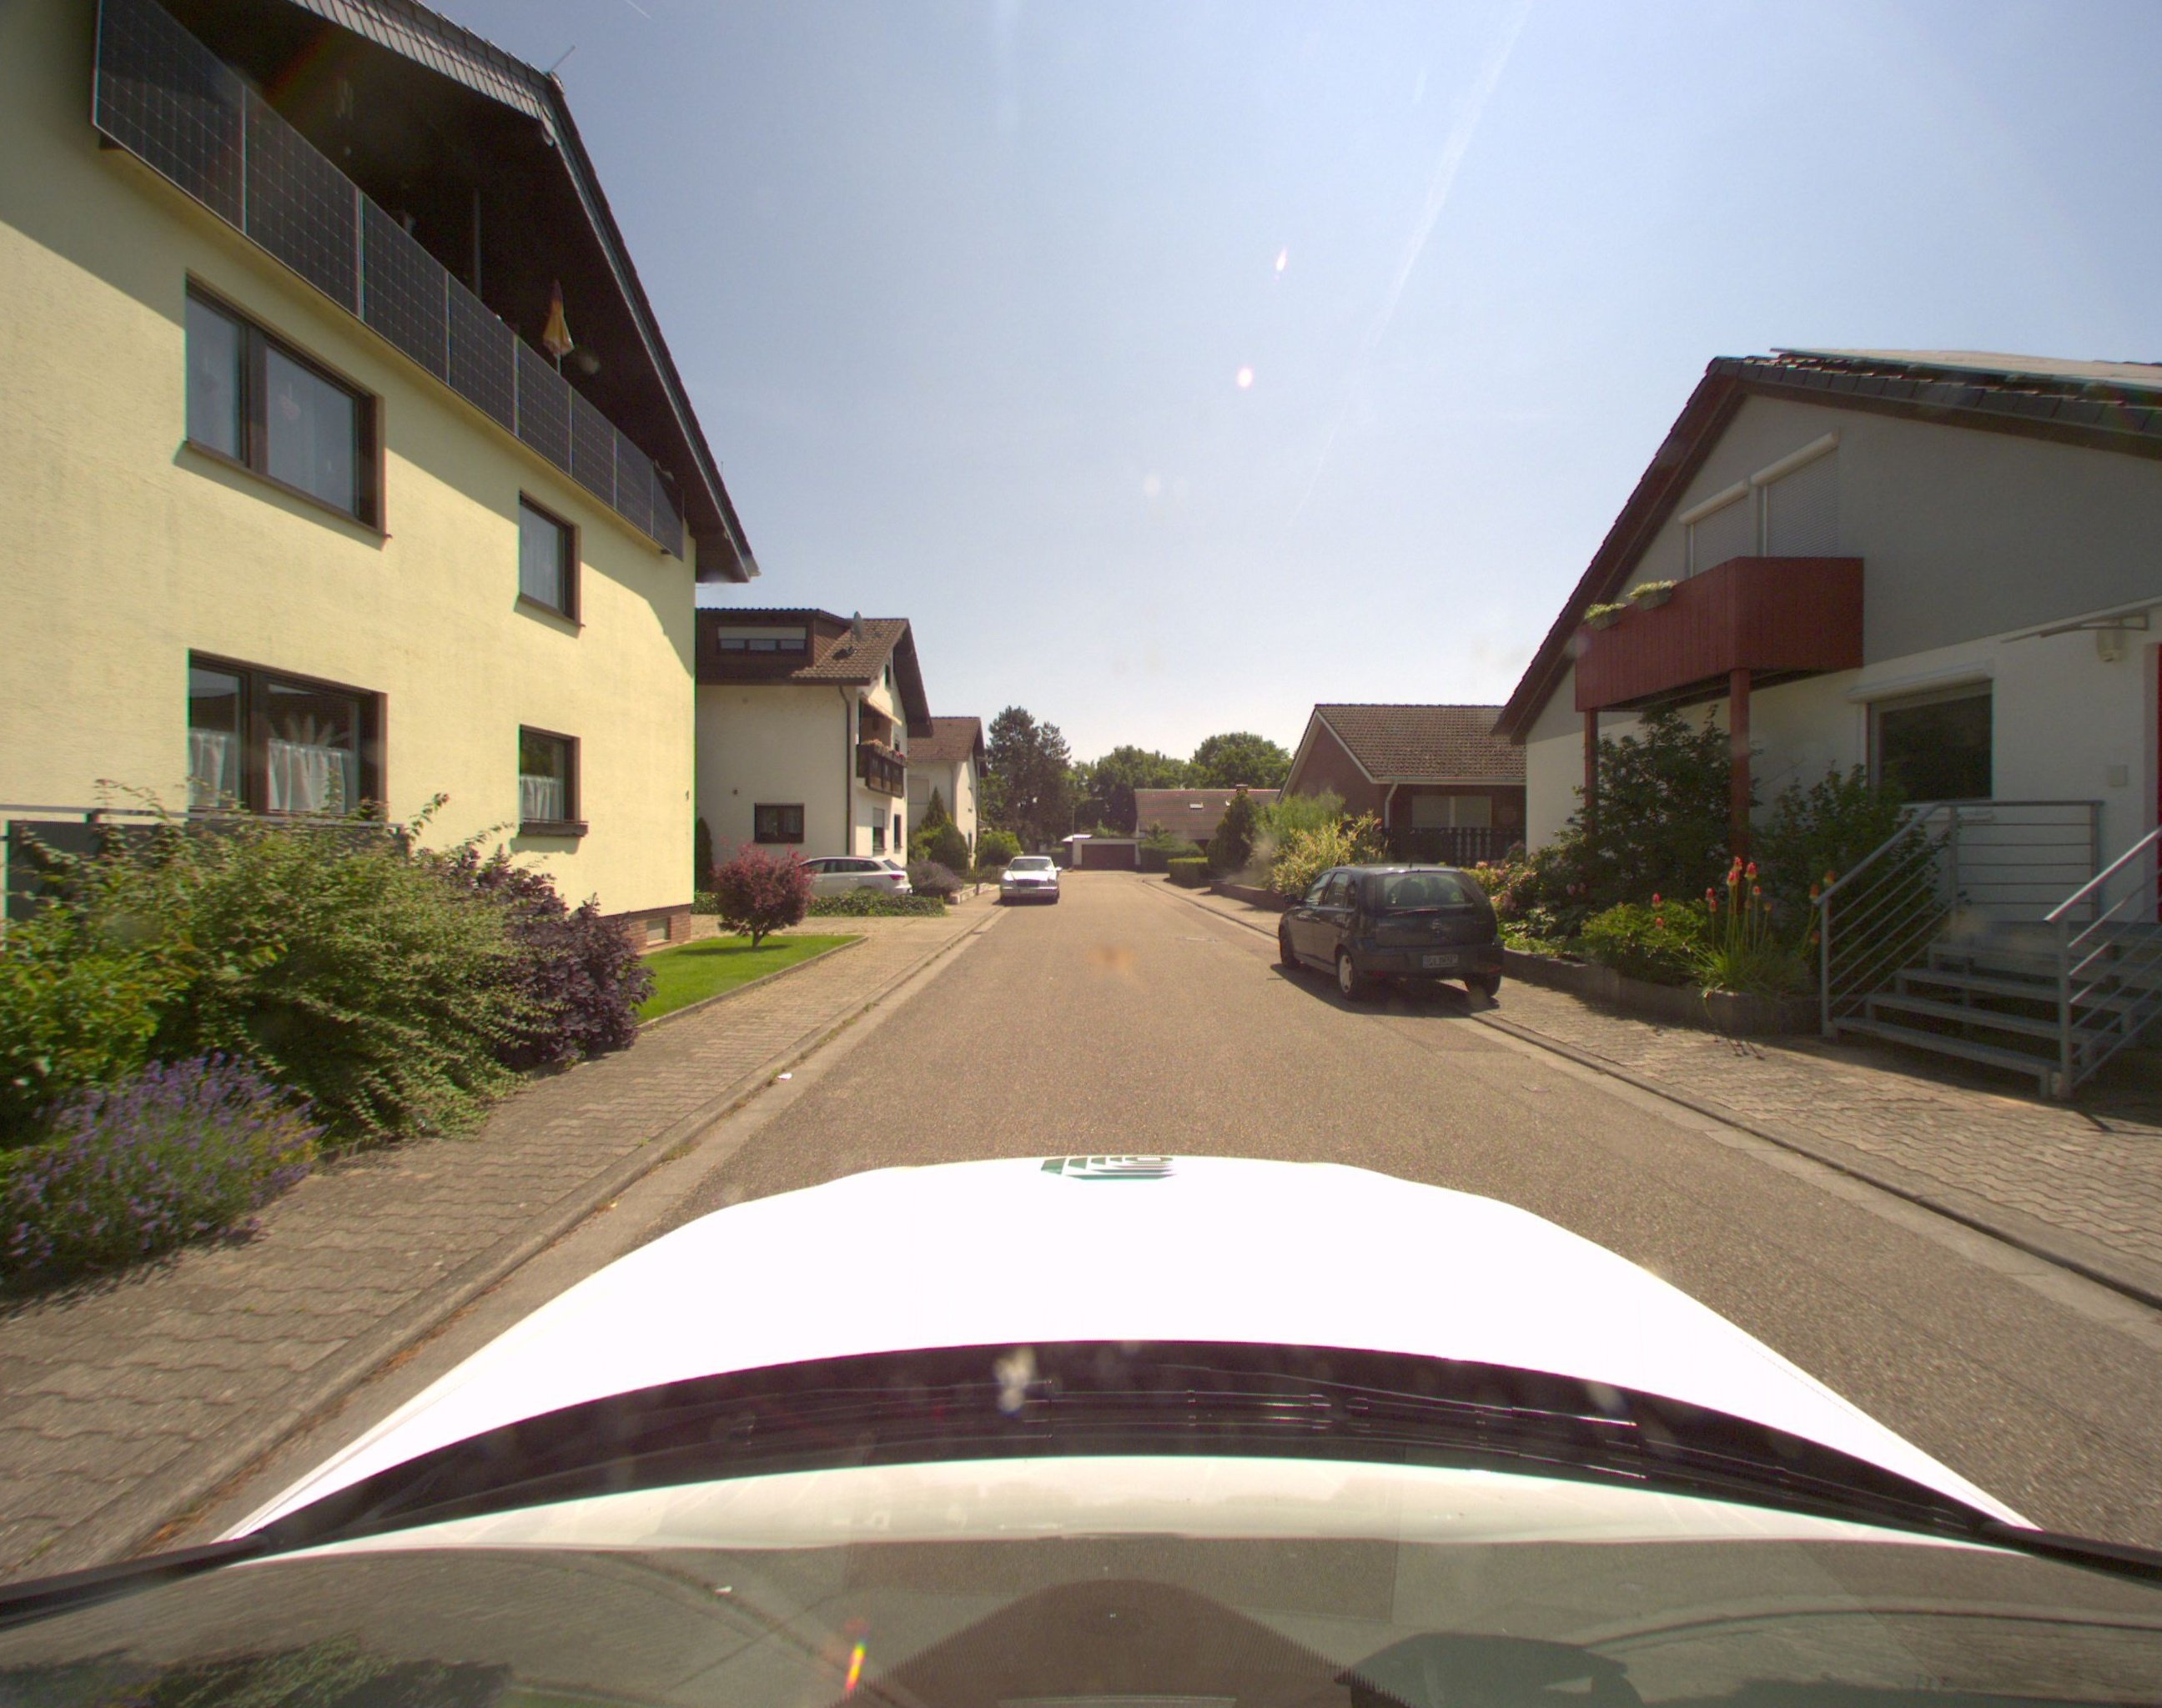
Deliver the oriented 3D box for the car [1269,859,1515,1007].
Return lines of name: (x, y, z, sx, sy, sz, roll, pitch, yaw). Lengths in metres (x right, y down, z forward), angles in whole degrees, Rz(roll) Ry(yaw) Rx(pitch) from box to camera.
car: (3.533, 0.797, 9.976, 1.645, 1.440, 3.651, 0, 0, 0)

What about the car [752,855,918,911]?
car: (-6.542, 0.748, 22.018, 3.982, 1.420, 1.842, 0, 0, -6)

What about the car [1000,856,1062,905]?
car: (-1.513, 0.781, 26.165, 1.693, 1.393, 4.337, 0, 0, 0)

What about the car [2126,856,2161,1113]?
car: (8.123, 0.719, 3.588, 4.521, 1.396, 1.952, 0, 0, 1)
